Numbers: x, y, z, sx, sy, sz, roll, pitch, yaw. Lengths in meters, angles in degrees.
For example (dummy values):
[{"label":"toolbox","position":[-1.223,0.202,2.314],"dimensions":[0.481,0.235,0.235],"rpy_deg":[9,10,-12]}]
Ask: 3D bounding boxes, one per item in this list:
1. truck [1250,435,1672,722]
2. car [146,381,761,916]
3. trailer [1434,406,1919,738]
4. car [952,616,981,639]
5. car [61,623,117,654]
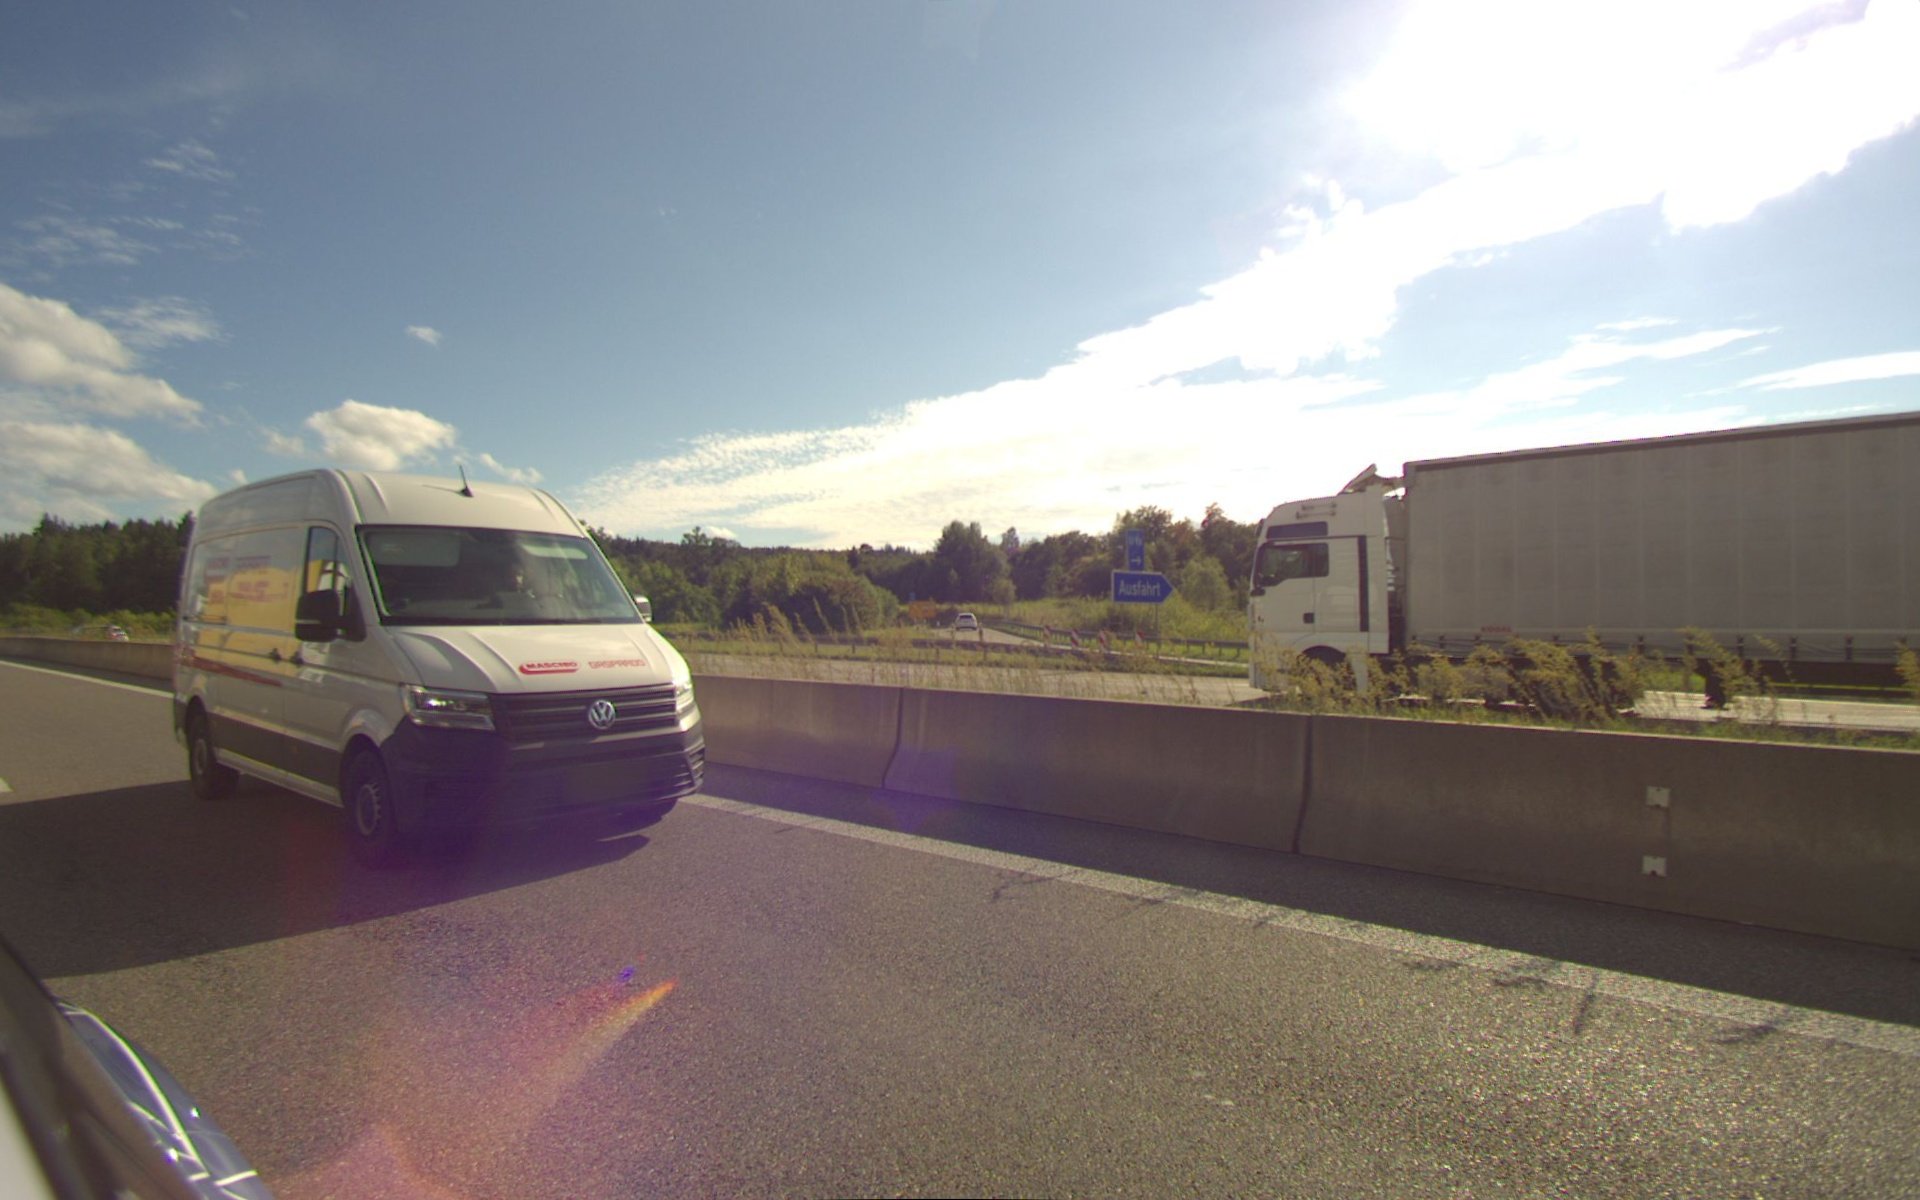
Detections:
[{"label":"truck","position":[8.264,-0.245,17.065],"dimensions":[5.829,4.006,2.790],"rpy_deg":[-1,-1,41]},{"label":"car","position":[-4.269,0.330,7.744],"dimensions":[6.178,2.619,1.994],"rpy_deg":[-2,-2,41]},{"label":"trailer","position":[13.487,-0.355,12.508],"dimensions":[13.541,4.023,2.803],"rpy_deg":[-1,-1,41]},{"label":"car","position":[0.500,2.383,88.823],"dimensions":[1.969,1.813,4.983],"rpy_deg":[-2,1,-5]},{"label":"car","position":[-49.709,2.172,57.727],"dimensions":[4.248,1.706,1.797],"rpy_deg":[-1,-1,41]}]
